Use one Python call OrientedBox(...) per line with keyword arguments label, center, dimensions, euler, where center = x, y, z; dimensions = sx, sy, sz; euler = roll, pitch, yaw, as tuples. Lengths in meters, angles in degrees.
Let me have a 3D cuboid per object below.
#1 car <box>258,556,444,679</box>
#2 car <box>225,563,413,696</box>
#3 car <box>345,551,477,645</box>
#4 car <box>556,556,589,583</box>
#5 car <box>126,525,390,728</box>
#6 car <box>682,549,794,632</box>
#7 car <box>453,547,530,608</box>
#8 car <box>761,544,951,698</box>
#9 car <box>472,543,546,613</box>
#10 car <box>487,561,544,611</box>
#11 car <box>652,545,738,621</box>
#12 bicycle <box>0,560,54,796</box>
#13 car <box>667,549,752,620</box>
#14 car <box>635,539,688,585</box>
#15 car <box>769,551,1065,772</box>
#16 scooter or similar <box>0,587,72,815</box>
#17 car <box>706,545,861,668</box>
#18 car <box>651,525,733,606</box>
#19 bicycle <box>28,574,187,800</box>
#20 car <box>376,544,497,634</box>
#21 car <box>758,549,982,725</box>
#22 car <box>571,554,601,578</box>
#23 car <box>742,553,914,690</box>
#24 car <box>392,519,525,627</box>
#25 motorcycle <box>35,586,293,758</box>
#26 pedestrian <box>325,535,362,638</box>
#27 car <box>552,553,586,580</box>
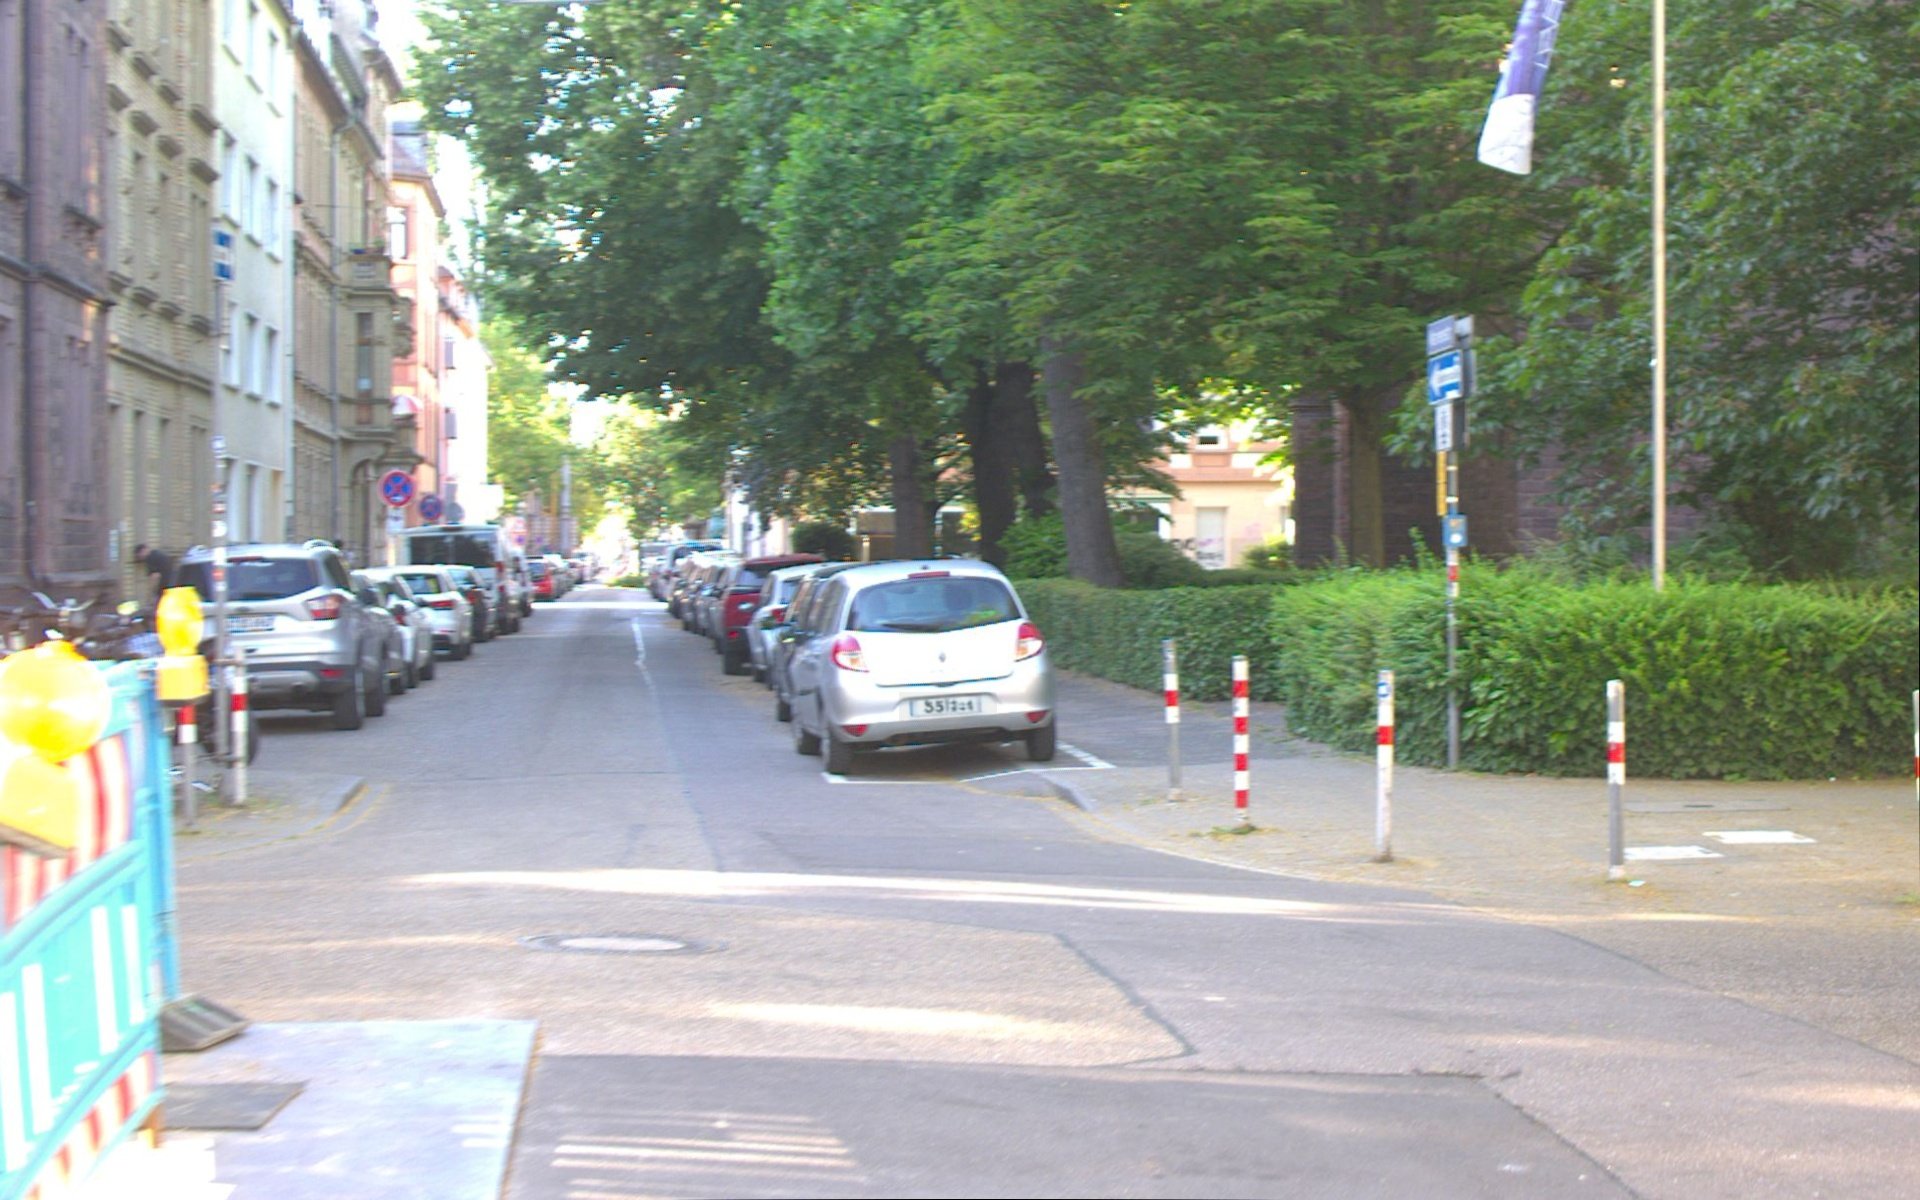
OrientedBox(label="car", center=(-7.487, 0.189, 42.594), dimensions=(1.881, 1.406, 4.001), euler=(-1, 1, -5))
OrientedBox(label="car", center=(-7.048, 0.283, 38.100), dimensions=(1.725, 1.388, 4.001), euler=(0, 1, -6))
OrientedBox(label="car", center=(-8.302, -0.058, 52.246), dimensions=(1.771, 1.349, 4.001), euler=(0, 1, -6))
OrientedBox(label="car", center=(-24.380, -1.911, 216.284), dimensions=(1.993, 1.641, 4.001), euler=(0, 0, -6))
OrientedBox(label="car", center=(-6.377, 0.210, 31.622), dimensions=(1.881, 1.701, 4.001), euler=(-1, 1, -5))
OrientedBox(label="car", center=(-4.377, -0.195, 67.269), dimensions=(1.993, 1.568, 4.001), euler=(0, 0, -6))
OrientedBox(label="car", center=(-12.250, -0.585, 90.004), dimensions=(1.902, 1.568, 4.001), euler=(0, 0, -6))
OrientedBox(label="car", center=(-1.180, 0.199, 37.234), dimensions=(1.740, 1.568, 4.001), euler=(0, 0, -6))
OrientedBox(label="car", center=(-11.536, -0.578, 88.110), dimensions=(1.792, 1.568, 4.002), euler=(0, 3, -6))
OrientedBox(label="car", center=(-15.424, -0.503, 119.403), dimensions=(1.949, 1.703, 4.001), euler=(0, 0, -7))
OrientedBox(label="car", center=(-6.108, -0.407, 78.966), dimensions=(1.829, 1.698, 4.001), euler=(0, 1, -6))
OrientedBox(label="bicycle", center=(-6.205, 0.459, 21.873), dimensions=(0.572, 1.418, 2.503), euler=(0, 1, -21))
OrientedBox(label="car", center=(-5.753, -0.361, 78.611), dimensions=(1.792, 1.568, 4.001), euler=(0, 0, -6))
OrientedBox(label="car", center=(-11.696, -1.501, 134.626), dimensions=(1.993, 1.722, 4.001), euler=(0, 1, -6))
OrientedBox(label="car", center=(-0.406, 0.401, 26.083), dimensions=(1.723, 1.517, 4.001), euler=(-1, 1, -8))
OrientedBox(label="scooter or similar", center=(-5.580, 0.566, 20.010), dimensions=(0.529, 1.273, 1.301), euler=(0, 1, -2))
OrientedBox(label="car", center=(-2.467, 0.072, 47.183), dimensions=(1.894, 1.620, 4.001), euler=(0, 0, -6))
OrientedBox(label="car", center=(-7.609, -0.978, 97.299), dimensions=(2.160, 2.248, 4.526), euler=(0, 0, -7))
OrientedBox(label="bicycle", center=(-5.455, 0.511, 21.905), dimensions=(0.682, 1.340, 2.503), euler=(0, 1, -21))
OrientedBox(label="car", center=(-9.399, -0.201, 61.945), dimensions=(1.993, 1.568, 4.001), euler=(0, 0, -6))
OrientedBox(label="car", center=(-0.891, 0.300, 31.595), dimensions=(1.722, 1.517, 4.001), euler=(0, 0, -6))
OrientedBox(label="car", center=(-25.903, -2.333, 238.194), dimensions=(1.993, 1.641, 4.001), euler=(0, 0, -6))
OrientedBox(label="car", center=(-1.675, 0.227, 42.404), dimensions=(1.841, 1.590, 4.001), euler=(0, 1, -6))
OrientedBox(label="car", center=(-10.086, -0.550, 69.468), dimensions=(2.309, 2.107, 5.170), euler=(0, 0, -4))
OrientedBox(label="motorcycle", center=(-5.863, 0.504, 25.236), dimensions=(2.309, 1.203, 0.664), euler=(0, 0, 43))
OrientedBox(label="pedestrian", center=(-12.127, -0.265, 67.593), dimensions=(0.684, 2.007, 0.692), euler=(0, 0, -13))
OrientedBox(label="car", center=(-23.559, -2.031, 207.439), dimensions=(1.993, 1.641, 4.001), euler=(0, 0, -6))
